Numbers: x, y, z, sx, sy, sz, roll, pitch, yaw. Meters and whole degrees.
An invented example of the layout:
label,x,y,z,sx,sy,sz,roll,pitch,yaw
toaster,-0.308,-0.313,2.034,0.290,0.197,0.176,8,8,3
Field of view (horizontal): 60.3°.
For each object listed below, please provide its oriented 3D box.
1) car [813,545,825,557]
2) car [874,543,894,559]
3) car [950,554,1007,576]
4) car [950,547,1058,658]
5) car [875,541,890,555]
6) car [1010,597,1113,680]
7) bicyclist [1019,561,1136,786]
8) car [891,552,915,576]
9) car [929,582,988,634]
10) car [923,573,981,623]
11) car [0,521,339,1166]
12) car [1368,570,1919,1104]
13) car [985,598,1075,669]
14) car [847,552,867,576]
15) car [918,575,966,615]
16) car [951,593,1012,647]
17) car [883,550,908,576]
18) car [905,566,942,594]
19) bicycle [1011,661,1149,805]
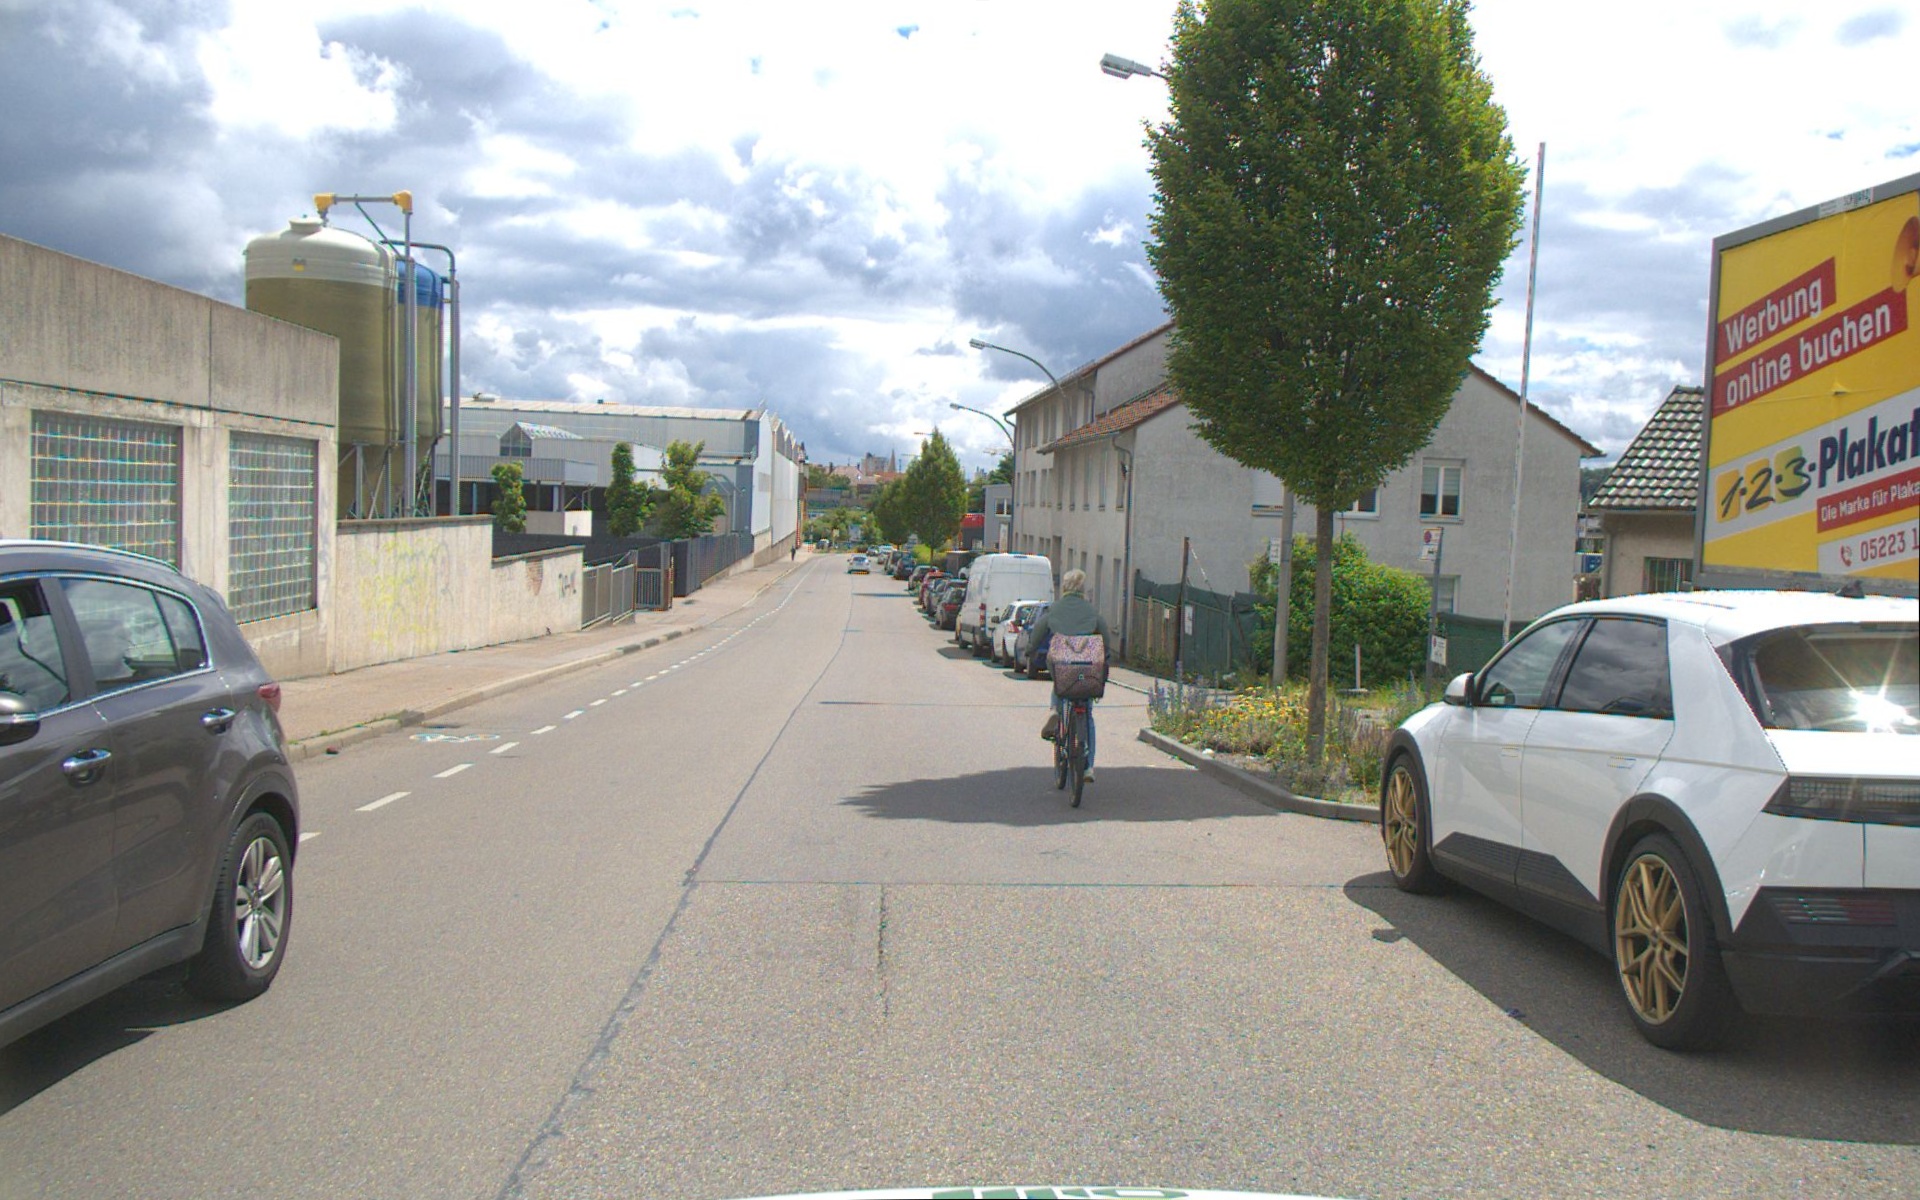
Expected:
label,x,y,z,sx,sy,sz,roll,pitch,yaw
car,-21.019,-7.308,246.396,1.816,1.512,3.996,2,0,-5
car,-8.289,-5.301,180.226,1.669,1.553,3.732,5,2,-8
car,1.282,-2.434,115.377,1.711,1.488,4.012,-3,3,-42
car,1.076,0.056,44.801,1.994,2.687,7.275,2,0,-5
car,-8.910,-6.038,191.047,1.667,1.554,3.737,2,2,-3
car,2.018,0.738,33.859,1.536,1.536,4.090,2,0,-4
bicyclist,0.887,0.551,12.664,0.725,1.655,0.730,2,0,-7
car,-4.198,-2.678,121.495,1.646,1.666,4.121,2,1,-2
car,-0.096,0.246,61.083,1.671,1.535,5.083,4,2,-5
car,-0.376,-0.124,66.650,1.645,1.666,4.790,4,2,-8
car,-3.342,0.613,4.614,1.763,1.650,4.091,1,0,-2
car,3.287,0.712,7.207,1.805,1.593,4.464,0,0,-2
car,1.597,0.747,38.686,1.562,1.536,3.786,2,0,-5
car,-8.315,-2.888,133.094,1.536,1.817,3.602,2,0,-4
car,-0.827,-0.230,72.213,1.701,1.448,4.857,3,2,-5
car,0.634,0.582,51.002,1.561,1.472,3.788,2,1,-3
car,-5.317,-3.057,136.217,1.832,2.024,5.140,2,1,-4
car,-2.139,-1.178,95.000,1.756,1.491,4.703,2,1,-5
bicycle,0.882,0.976,12.592,0.726,0.992,1.730,2,-2,-6
